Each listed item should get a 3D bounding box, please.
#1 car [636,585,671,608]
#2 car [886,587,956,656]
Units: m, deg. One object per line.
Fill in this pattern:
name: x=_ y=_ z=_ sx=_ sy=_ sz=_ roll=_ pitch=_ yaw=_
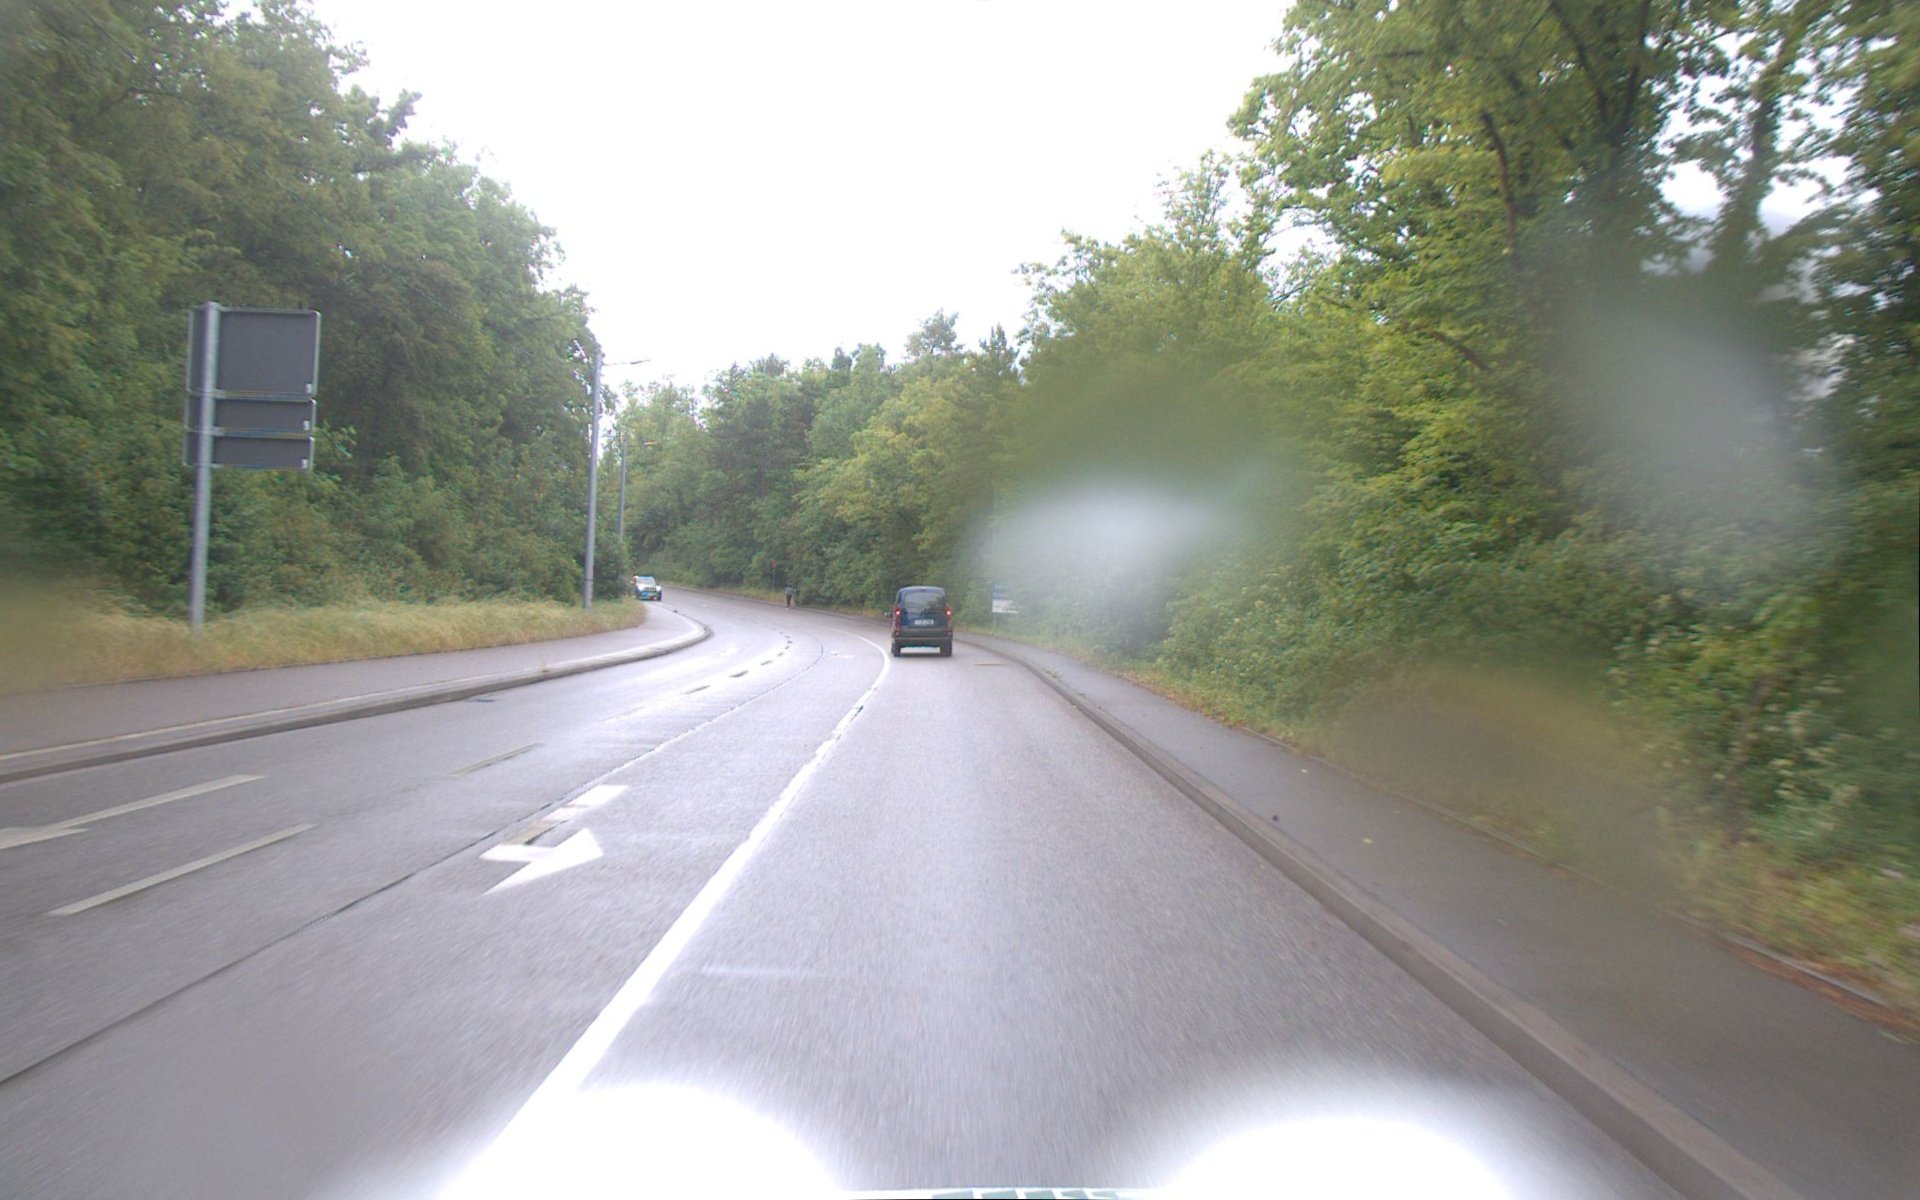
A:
car: x=-22.688 y=-0.239 z=122.464 sx=1.782 sy=1.622 sz=4.490 roll=1 pitch=0 yaw=-21
car: x=-1.109 y=0.545 z=45.741 sx=1.791 sy=1.825 sz=3.997 roll=0 pitch=0 yaw=-4
